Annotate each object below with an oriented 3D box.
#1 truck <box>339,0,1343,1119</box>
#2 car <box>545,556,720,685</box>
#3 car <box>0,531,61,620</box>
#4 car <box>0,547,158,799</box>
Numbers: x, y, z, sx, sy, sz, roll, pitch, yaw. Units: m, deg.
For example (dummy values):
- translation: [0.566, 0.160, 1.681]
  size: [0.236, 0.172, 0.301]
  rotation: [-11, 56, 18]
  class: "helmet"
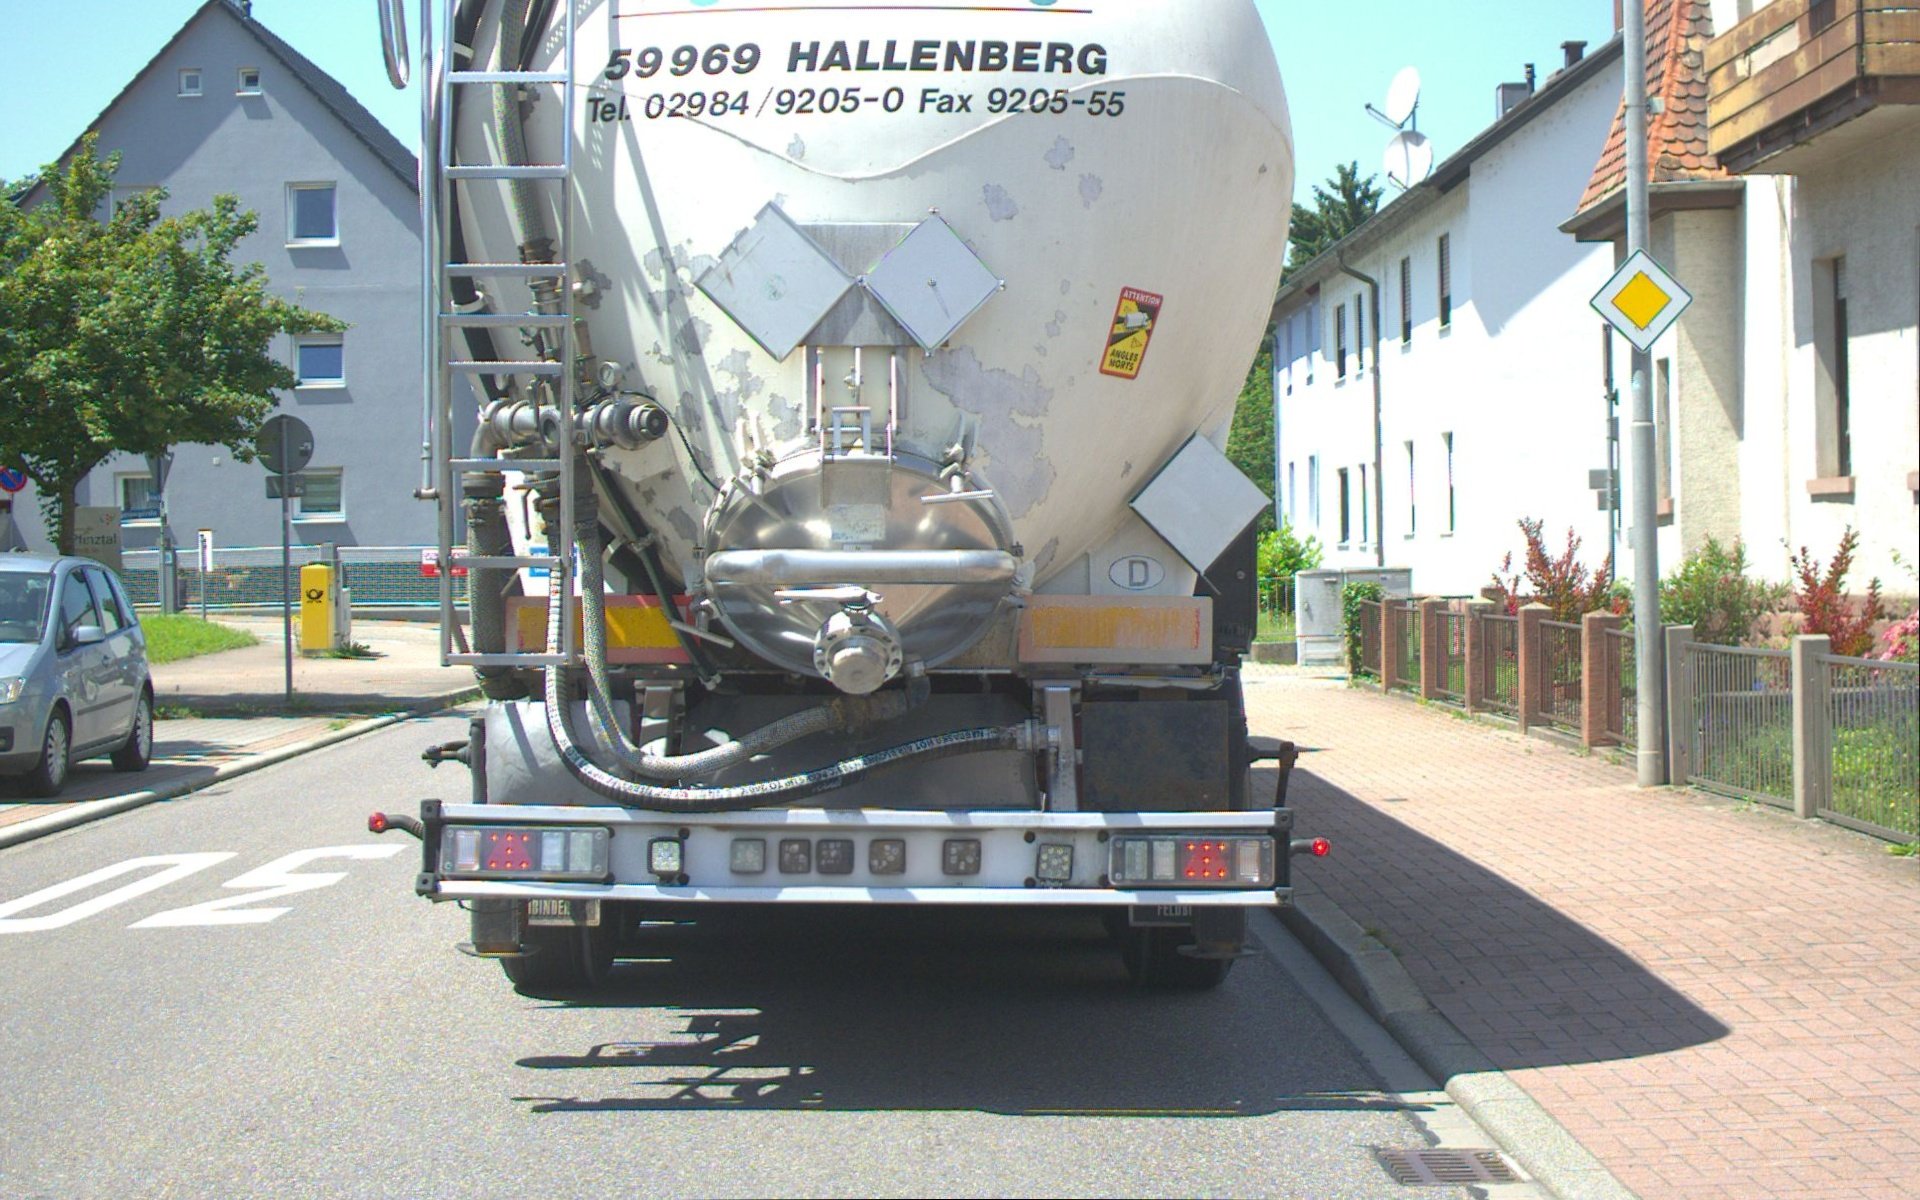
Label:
- translation: [-0.347, -0.705, 13.837]
  size: [2.641, 4.002, 9.562]
  rotation: [0, 1, 0]
  class: "truck"
- translation: [-3.994, 0.213, 42.505]
  size: [1.784, 1.451, 4.258]
  rotation: [-2, 1, -1]
  class: "car"
- translation: [-19.546, -0.447, 64.973]
  size: [4.626, 1.645, 1.740]
  rotation: [-1, 1, 8]
  class: "car"
- translation: [-6.730, 0.428, 23.462]
  size: [1.697, 1.575, 3.838]
  rotation: [0, 1, -1]
  class: "car"
